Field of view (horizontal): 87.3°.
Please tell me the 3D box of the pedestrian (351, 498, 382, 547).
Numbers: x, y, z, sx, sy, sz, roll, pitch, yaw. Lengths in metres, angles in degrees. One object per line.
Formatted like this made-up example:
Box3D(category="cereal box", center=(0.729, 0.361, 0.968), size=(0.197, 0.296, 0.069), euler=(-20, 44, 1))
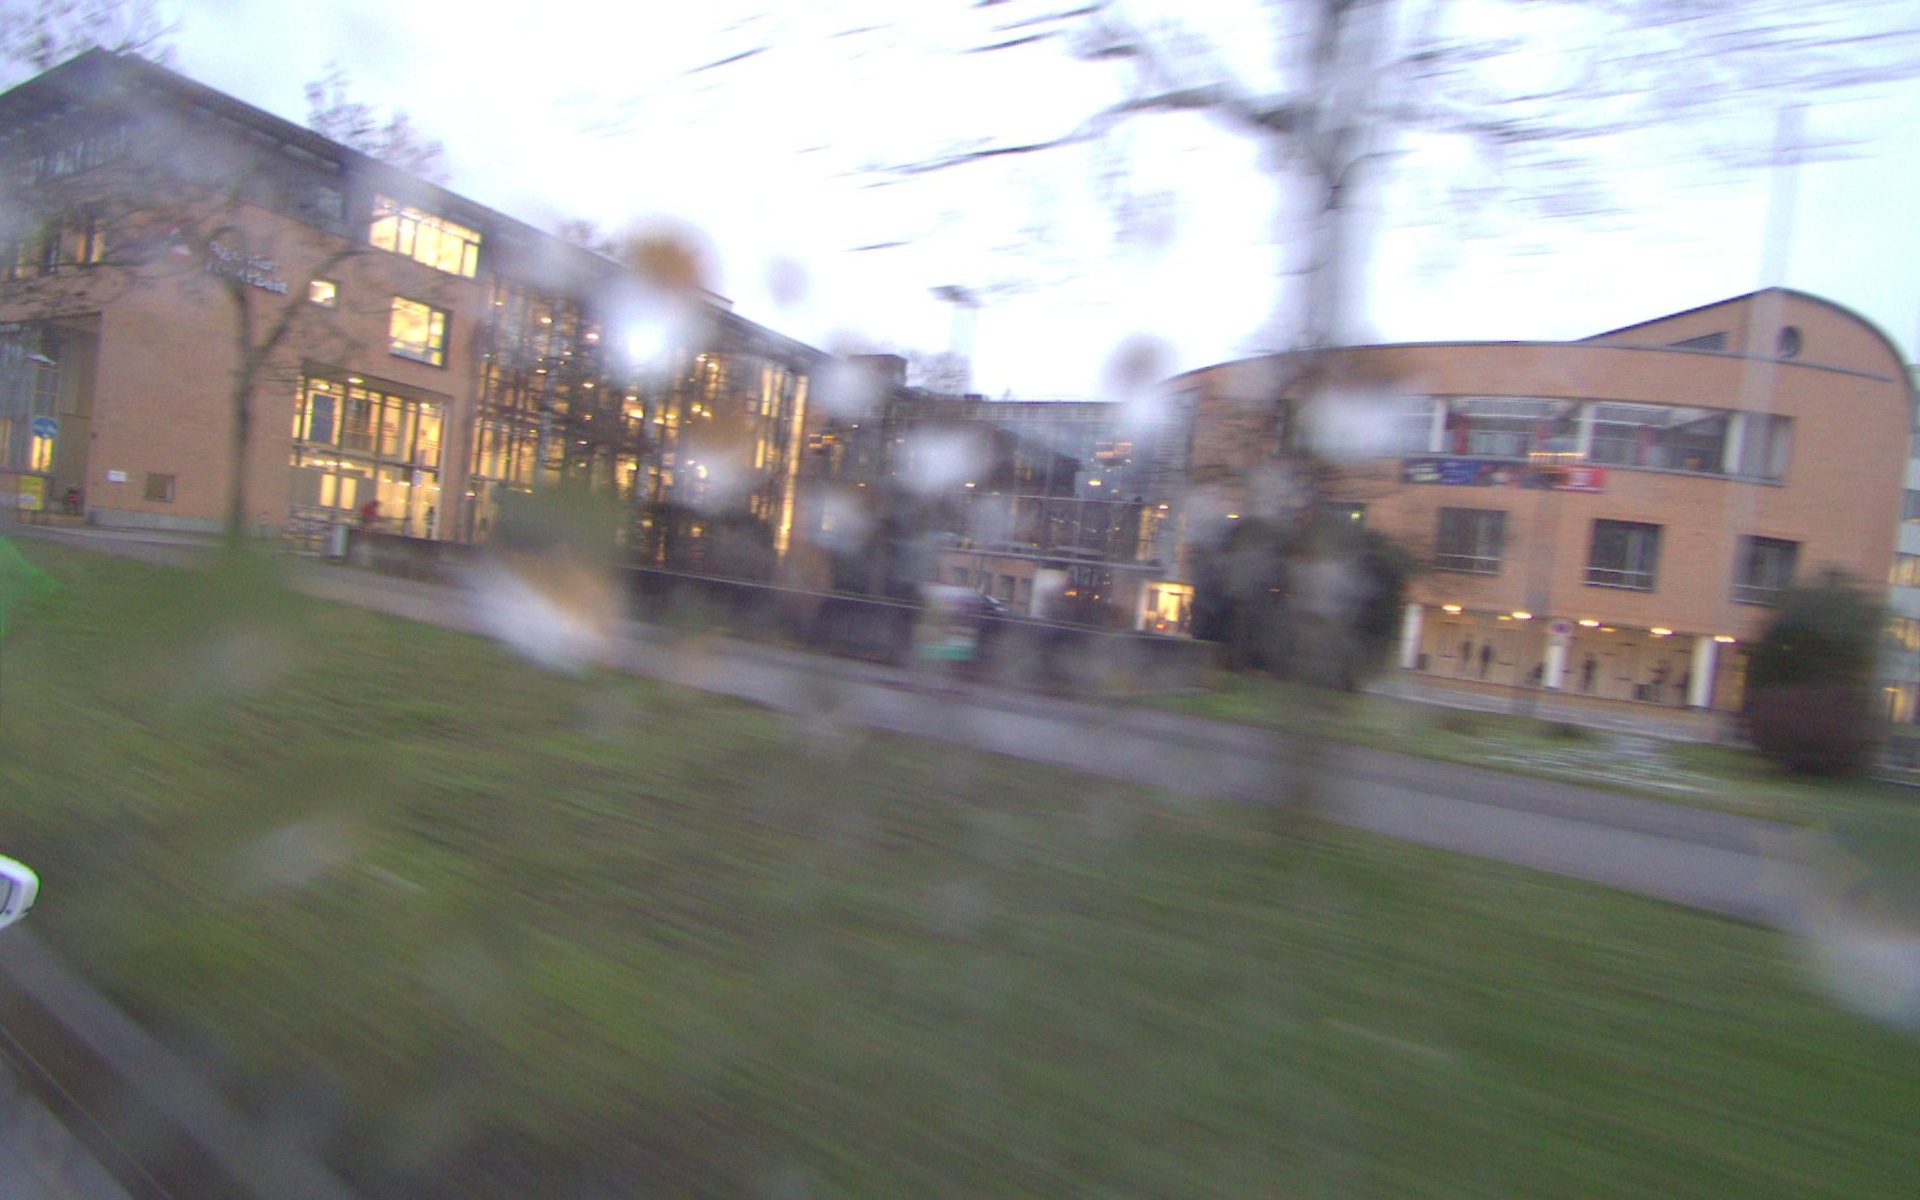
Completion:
Box3D(category="pedestrian", center=(-21.550, -2.820, 36.508), size=(0.726, 1.658, 0.630), euler=(8, 3, 38))
